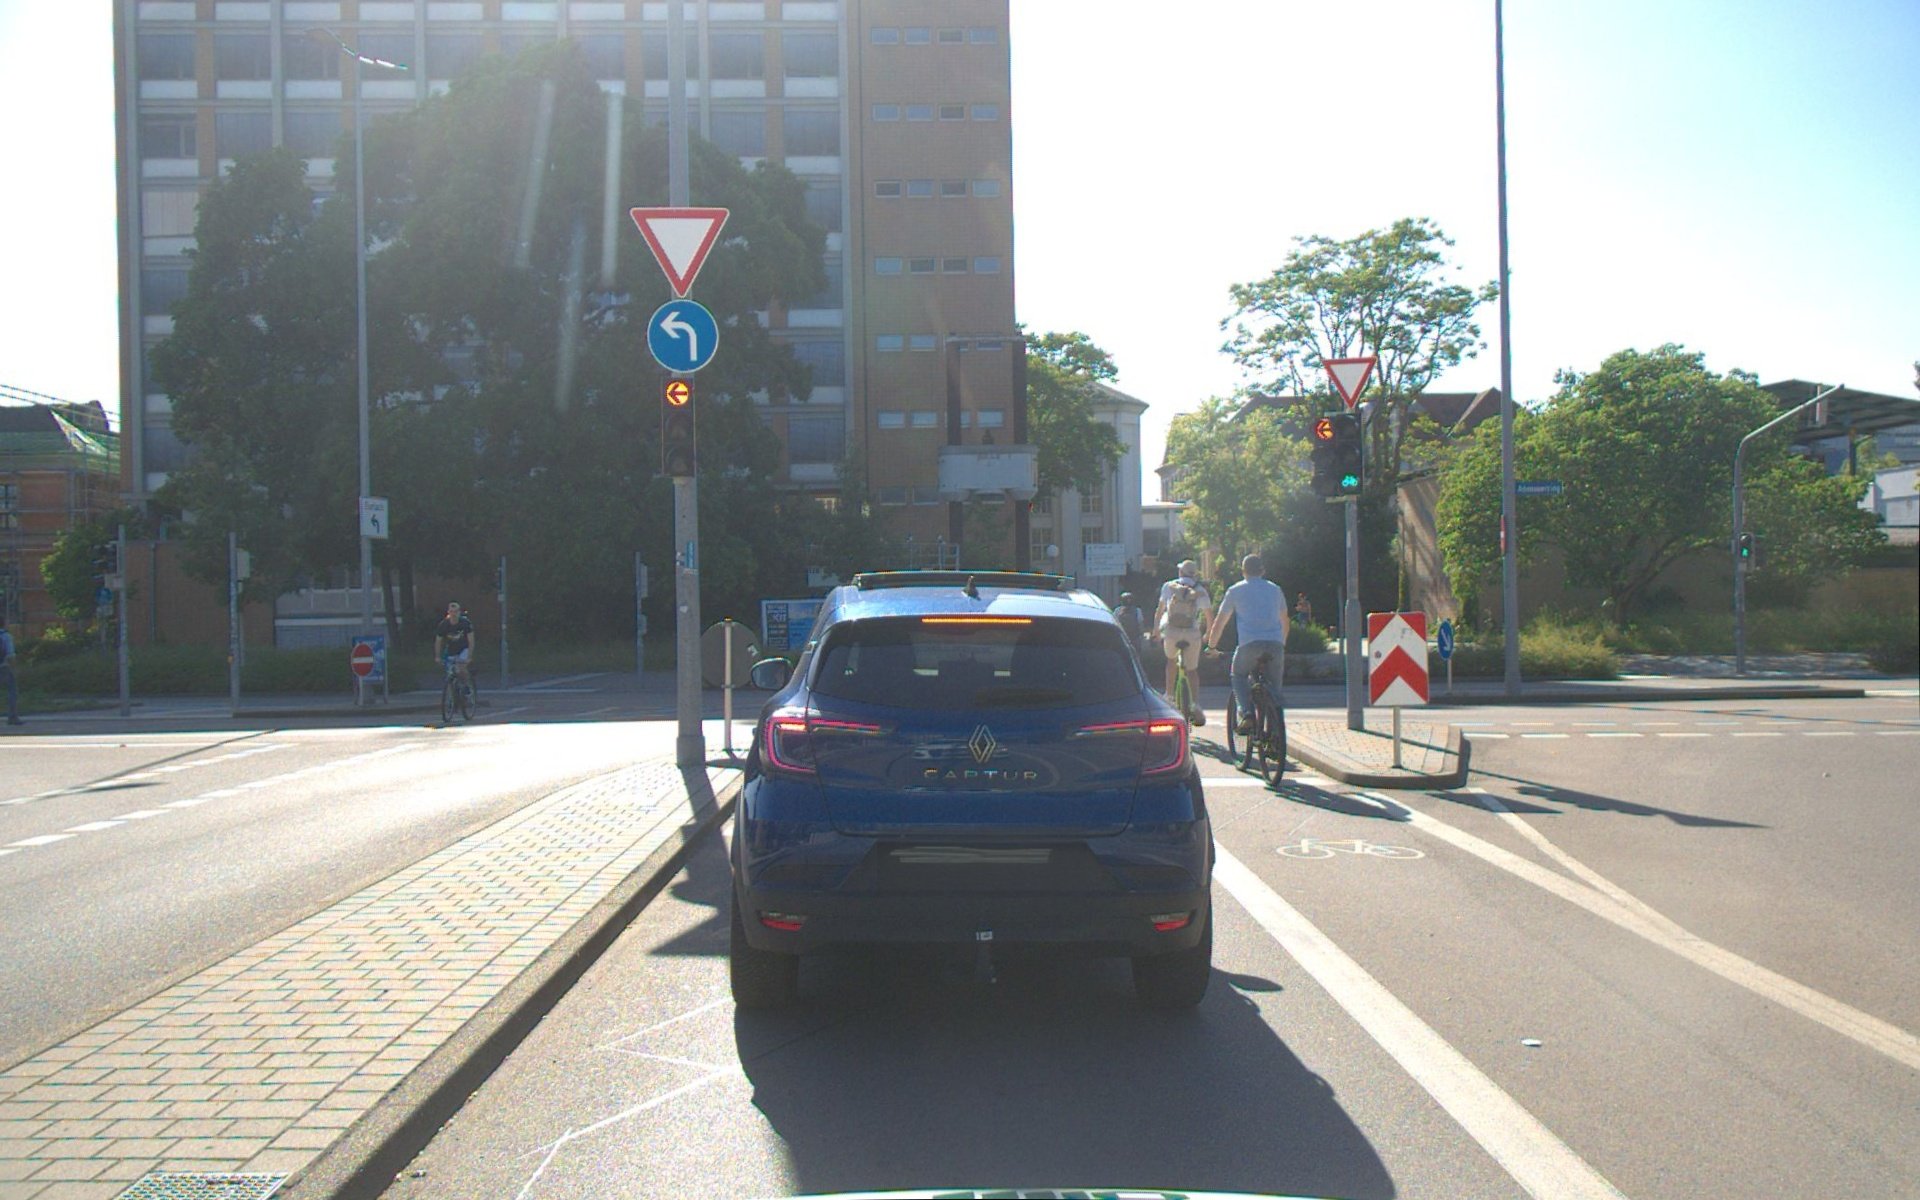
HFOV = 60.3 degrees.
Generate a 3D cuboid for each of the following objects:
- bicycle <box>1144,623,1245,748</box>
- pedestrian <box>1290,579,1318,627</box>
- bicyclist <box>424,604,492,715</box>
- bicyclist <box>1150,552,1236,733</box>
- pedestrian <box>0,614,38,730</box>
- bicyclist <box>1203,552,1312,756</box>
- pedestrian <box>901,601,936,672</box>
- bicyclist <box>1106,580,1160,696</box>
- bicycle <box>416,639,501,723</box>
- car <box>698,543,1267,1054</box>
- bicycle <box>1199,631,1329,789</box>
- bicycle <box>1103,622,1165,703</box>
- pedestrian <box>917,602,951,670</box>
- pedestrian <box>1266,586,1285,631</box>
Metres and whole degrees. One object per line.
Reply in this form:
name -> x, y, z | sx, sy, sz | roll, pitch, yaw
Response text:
bicycle -> 2.399, 0.844, 17.086 | 0.731, 1.185, 1.870 | -1, 0, -1
pedestrian -> 12.241, 0.101, 58.830 | 0.729, 1.672, 0.668 | 1, -1, -40
bicyclist -> -7.737, 0.903, 25.511 | 0.705, 1.649, 0.977 | -2, 0, -1
bicyclist -> 2.391, 0.427, 17.058 | 0.705, 1.793, 0.977 | -1, 0, -1
pedestrian -> -15.783, 1.175, 27.181 | 0.740, 1.865, 1.093 | -1, -2, -9
bicyclist -> 2.495, 0.439, 13.950 | 0.705, 1.645, 0.977 | -1, 0, -1
pedestrian -> -1.111, 0.961, 44.095 | 0.718, 1.848, 0.732 | 1, -1, 16
bicyclist -> 2.703, 0.583, 25.975 | 0.705, 1.765, 0.977 | -1, 0, -1
bicycle -> -7.726, 1.230, 25.572 | 0.731, 1.185, 1.870 | -2, 0, -1
car -> 0.051, 0.658, 7.336 | 1.838, 1.646, 3.797 | 1, 0, -1
bicycle -> 2.506, 0.878, 13.853 | 0.701, 1.185, 1.870 | -1, 0, -1
bicycle -> 2.710, 0.953, 25.935 | 0.731, 1.185, 1.870 | -1, 0, -1
pedestrian -> -0.714, 0.979, 45.069 | 0.718, 1.813, 0.732 | 1, -1, 16
pedestrian -> 11.979, 0.333, 62.767 | 0.661, 1.672, 0.736 | 1, -1, 15
